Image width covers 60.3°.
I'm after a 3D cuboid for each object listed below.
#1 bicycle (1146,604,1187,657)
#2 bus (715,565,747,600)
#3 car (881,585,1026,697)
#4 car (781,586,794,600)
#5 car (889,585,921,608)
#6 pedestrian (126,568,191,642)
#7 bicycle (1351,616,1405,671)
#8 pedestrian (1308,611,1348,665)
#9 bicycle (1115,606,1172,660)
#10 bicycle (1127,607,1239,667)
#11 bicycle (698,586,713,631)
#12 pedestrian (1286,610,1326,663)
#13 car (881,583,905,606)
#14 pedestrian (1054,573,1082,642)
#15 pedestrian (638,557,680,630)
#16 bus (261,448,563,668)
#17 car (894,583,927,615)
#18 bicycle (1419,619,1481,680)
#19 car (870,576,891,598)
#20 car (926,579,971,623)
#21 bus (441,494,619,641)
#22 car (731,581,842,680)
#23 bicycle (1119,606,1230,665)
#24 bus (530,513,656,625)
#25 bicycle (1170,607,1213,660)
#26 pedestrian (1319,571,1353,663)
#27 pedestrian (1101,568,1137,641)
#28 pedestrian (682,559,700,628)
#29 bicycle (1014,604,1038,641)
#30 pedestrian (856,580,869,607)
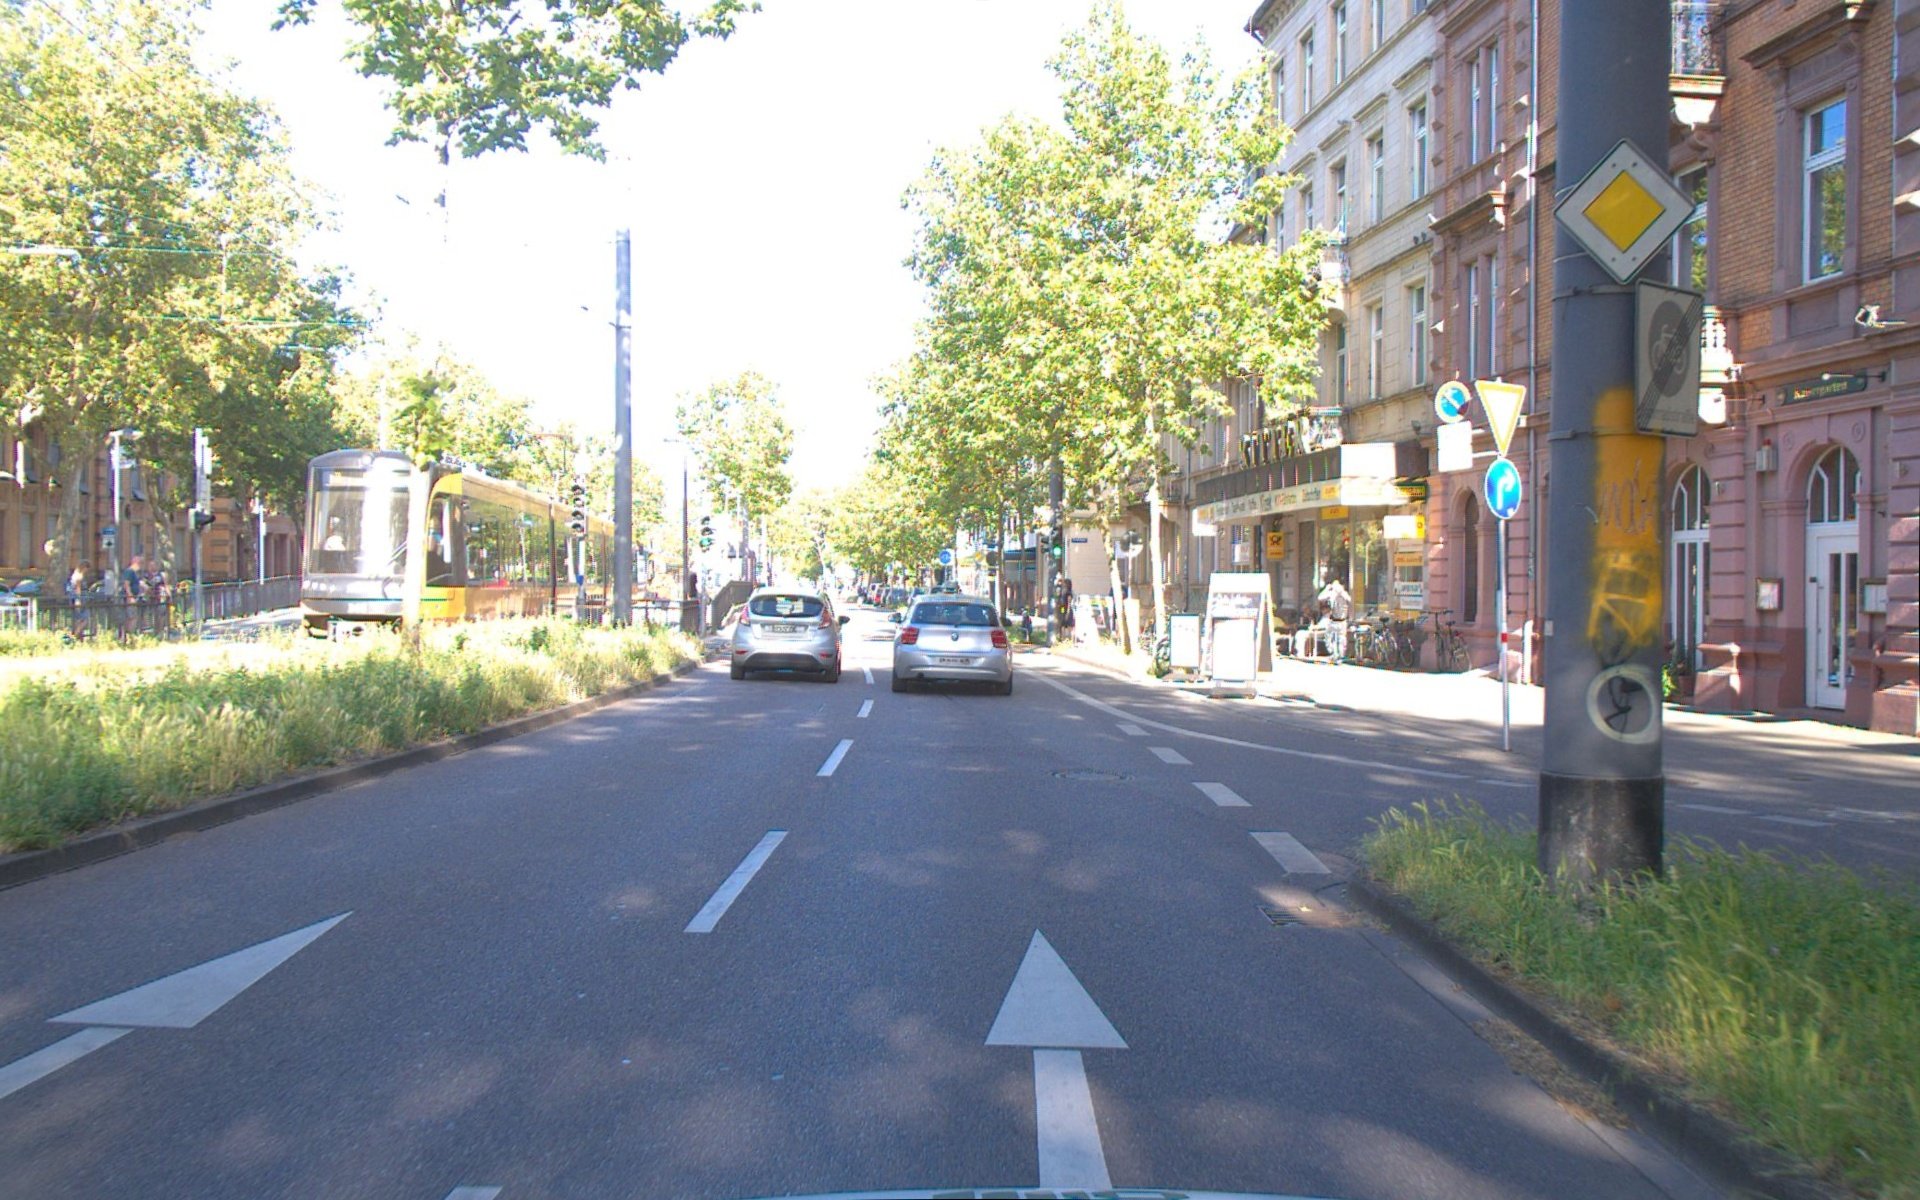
[{"bbox_3d":[4.257,0.620,34.177,0.434,1.010,1.686,2,1,-7],"label":"bicycle"},{"bbox_3d":[-25.094,-1.972,181.906,2.696,3.689,18.827,1,1,-5],"label":"bus"},{"bbox_3d":[-0.186,0.555,24.984,1.728,1.457,3.995,2,1,-6],"label":"car"},{"bbox_3d":[-27.155,-1.121,260.238,1.955,2.048,3.996,2,1,-6],"label":"car"},{"bbox_3d":[-4.061,-0.261,121.573,1.955,1.535,4.592,2,0,-6],"label":"car"},{"bbox_3d":[-18.267,0.119,37.713,1.156,1.672,0.890,0,0,-13],"label":"pedestrian"},{"bbox_3d":[8.386,0.869,33.234,0.434,1.010,1.686,2,1,-7],"label":"bicycle"},{"bbox_3d":[8.295,0.860,37.308,0.635,1.181,0.608,2,1,-17],"label":"pedestrian"},{"bbox_3d":[3.751,0.663,33.848,0.436,1.010,1.679,2,1,-20],"label":"bicycle"},{"bbox_3d":[4.073,0.675,30.222,1.966,1.010,0.443,2,1,-8],"label":"bicycle"},{"bbox_3d":[-7.199,0.234,46.712,0.322,1.235,1.824,1,0,-11],"label":"bicycle"},{"bbox_3d":[7.914,0.836,37.817,0.764,1.181,0.464,2,1,-31],"label":"pedestrian"},{"bbox_3d":[-5.141,-0.444,126.654,1.637,1.578,3.996,2,1,-5],"label":"car"},{"bbox_3d":[2.868,0.181,44.141,0.629,1.802,0.869,2,1,0],"label":"pedestrian"},{"bbox_3d":[-8.296,-0.179,45.578,1.052,1.949,1.125,1,0,-8],"label":"pedestrian"},{"bbox_3d":[-10.400,-0.724,33.224,2.813,3.504,13.202,1,0,-5],"label":"bus"},{"bbox_3d":[-2.878,-0.074,95.445,1.659,1.687,4.035,0,1,-6],"label":"car"},{"bbox_3d":[8.961,0.893,30.298,0.434,1.010,1.686,2,1,-7],"label":"bicycle"},{"bbox_3d":[-7.350,-1.196,152.447,1.691,1.913,3.996,2,0,-6],"label":"car"},{"bbox_3d":[-0.571,0.011,80.324,1.721,1.999,4.732,1,1,-6],"label":"car"},{"bbox_3d":[-11.573,-0.822,45.813,2.813,3.504,12.201,1,0,-5],"label":"bus"},{"bbox_3d":[-2.782,0.444,26.807,1.615,1.386,3.756,2,1,-5],"label":"car"},{"bbox_3d":[3.985,0.663,30.734,1.976,1.010,0.443,2,1,-8],"label":"bicycle"},{"bbox_3d":[-12.588,-1.017,57.712,2.813,3.504,11.598,1,0,-5],"label":"bus"},{"bbox_3d":[4.790,0.686,34.264,0.434,1.010,1.686,2,1,-7],"label":"bicycle"},{"bbox_3d":[7.732,0.345,33.996,0.458,1.842,0.773,2,1,25],"label":"pedestrian"},{"bbox_3d":[4.590,0.112,47.775,0.864,2.048,0.856,2,1,-2],"label":"pedestrian"},{"bbox_3d":[-7.569,-0.191,46.545,0.443,1.936,0.583,1,0,-13],"label":"pedestrian"},{"bbox_3d":[1.901,0.651,48.052,0.419,0.987,1.748,2,1,-6],"label":"bicycle"},{"bbox_3d":[-7.380,-0.485,124.886,0.821,2.048,0.648,2,1,1],"label":"pedestrian"}]
